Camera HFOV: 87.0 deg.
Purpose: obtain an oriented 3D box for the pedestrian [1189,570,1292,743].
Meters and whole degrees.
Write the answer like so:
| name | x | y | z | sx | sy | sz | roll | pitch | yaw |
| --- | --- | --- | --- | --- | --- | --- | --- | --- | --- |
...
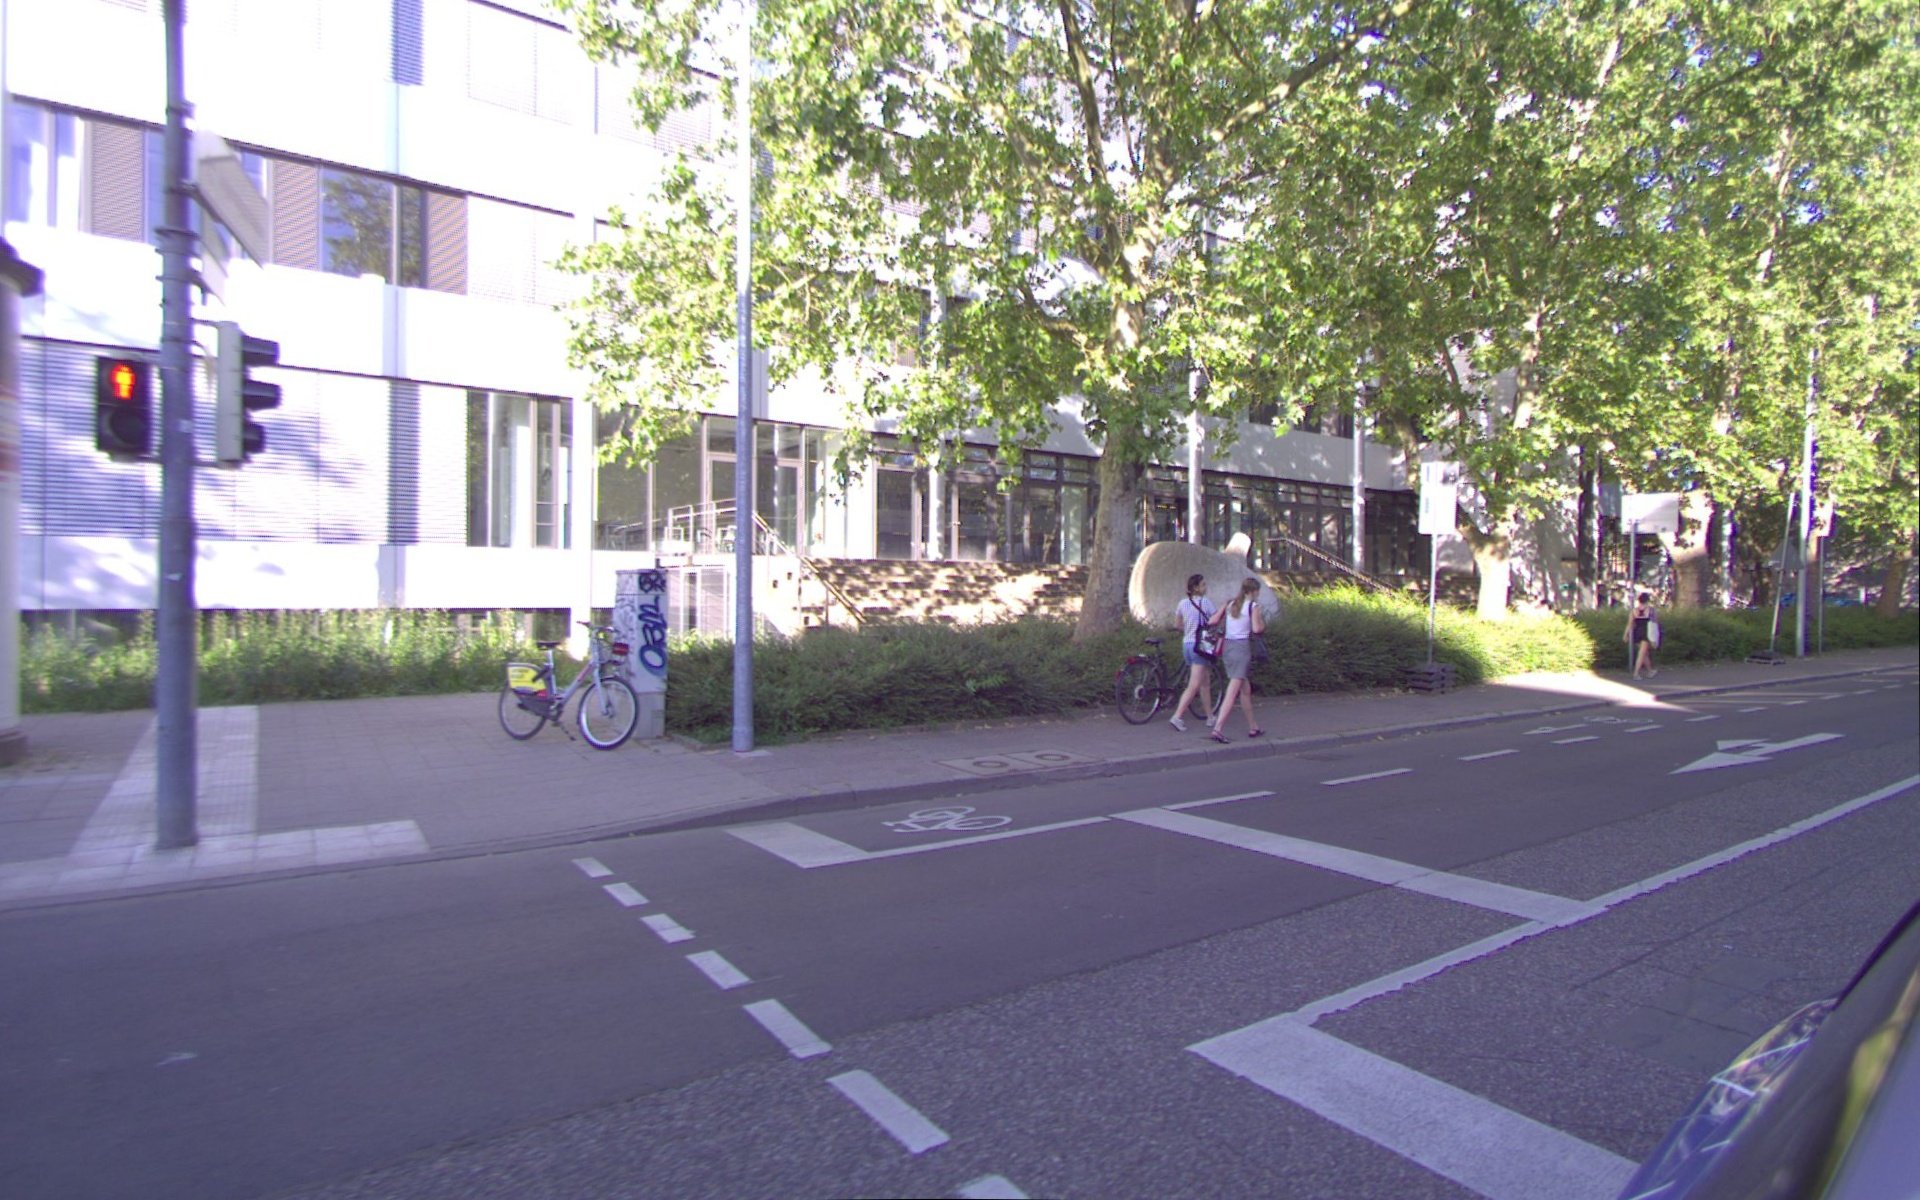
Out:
| name | x | y | z | sx | sy | sz | roll | pitch | yaw |
| --- | --- | --- | --- | --- | --- | --- | --- | --- | --- |
| pedestrian | 2.964 | 0.555 | 10.728 | 0.679 | 1.740 | 0.776 | 0 | 2 | -36 |

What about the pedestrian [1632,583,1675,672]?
| name | x | y | z | sx | sy | sz | roll | pitch | yaw |
| --- | --- | --- | --- | --- | --- | --- | --- | --- | --- |
| pedestrian | 12.935 | 0.500 | 18.876 | 0.670 | 1.614 | 0.463 | 0 | 0 | -37 |

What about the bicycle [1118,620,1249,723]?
| name | x | y | z | sx | sy | sz | roll | pitch | yaw |
| --- | --- | --- | --- | --- | --- | --- | --- | --- | --- |
| bicycle | 2.544 | 0.771 | 11.420 | 1.617 | 1.048 | 0.522 | -1 | 0 | -37 |

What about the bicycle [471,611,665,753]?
| name | x | y | z | sx | sy | sz | roll | pitch | yaw |
| --- | --- | --- | --- | --- | --- | --- | --- | --- | --- |
| bicycle | -3.690 | 0.724 | 9.475 | 1.972 | 1.197 | 0.466 | 1 | 1 | 26 |

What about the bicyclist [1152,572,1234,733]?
| name | x | y | z | sx | sy | sz | roll | pitch | yaw |
| --- | --- | --- | --- | --- | --- | --- | --- | --- | --- |
| bicyclist | 2.621 | 0.556 | 11.407 | 0.643 | 1.734 | 0.634 | -2 | 3 | -36 |
